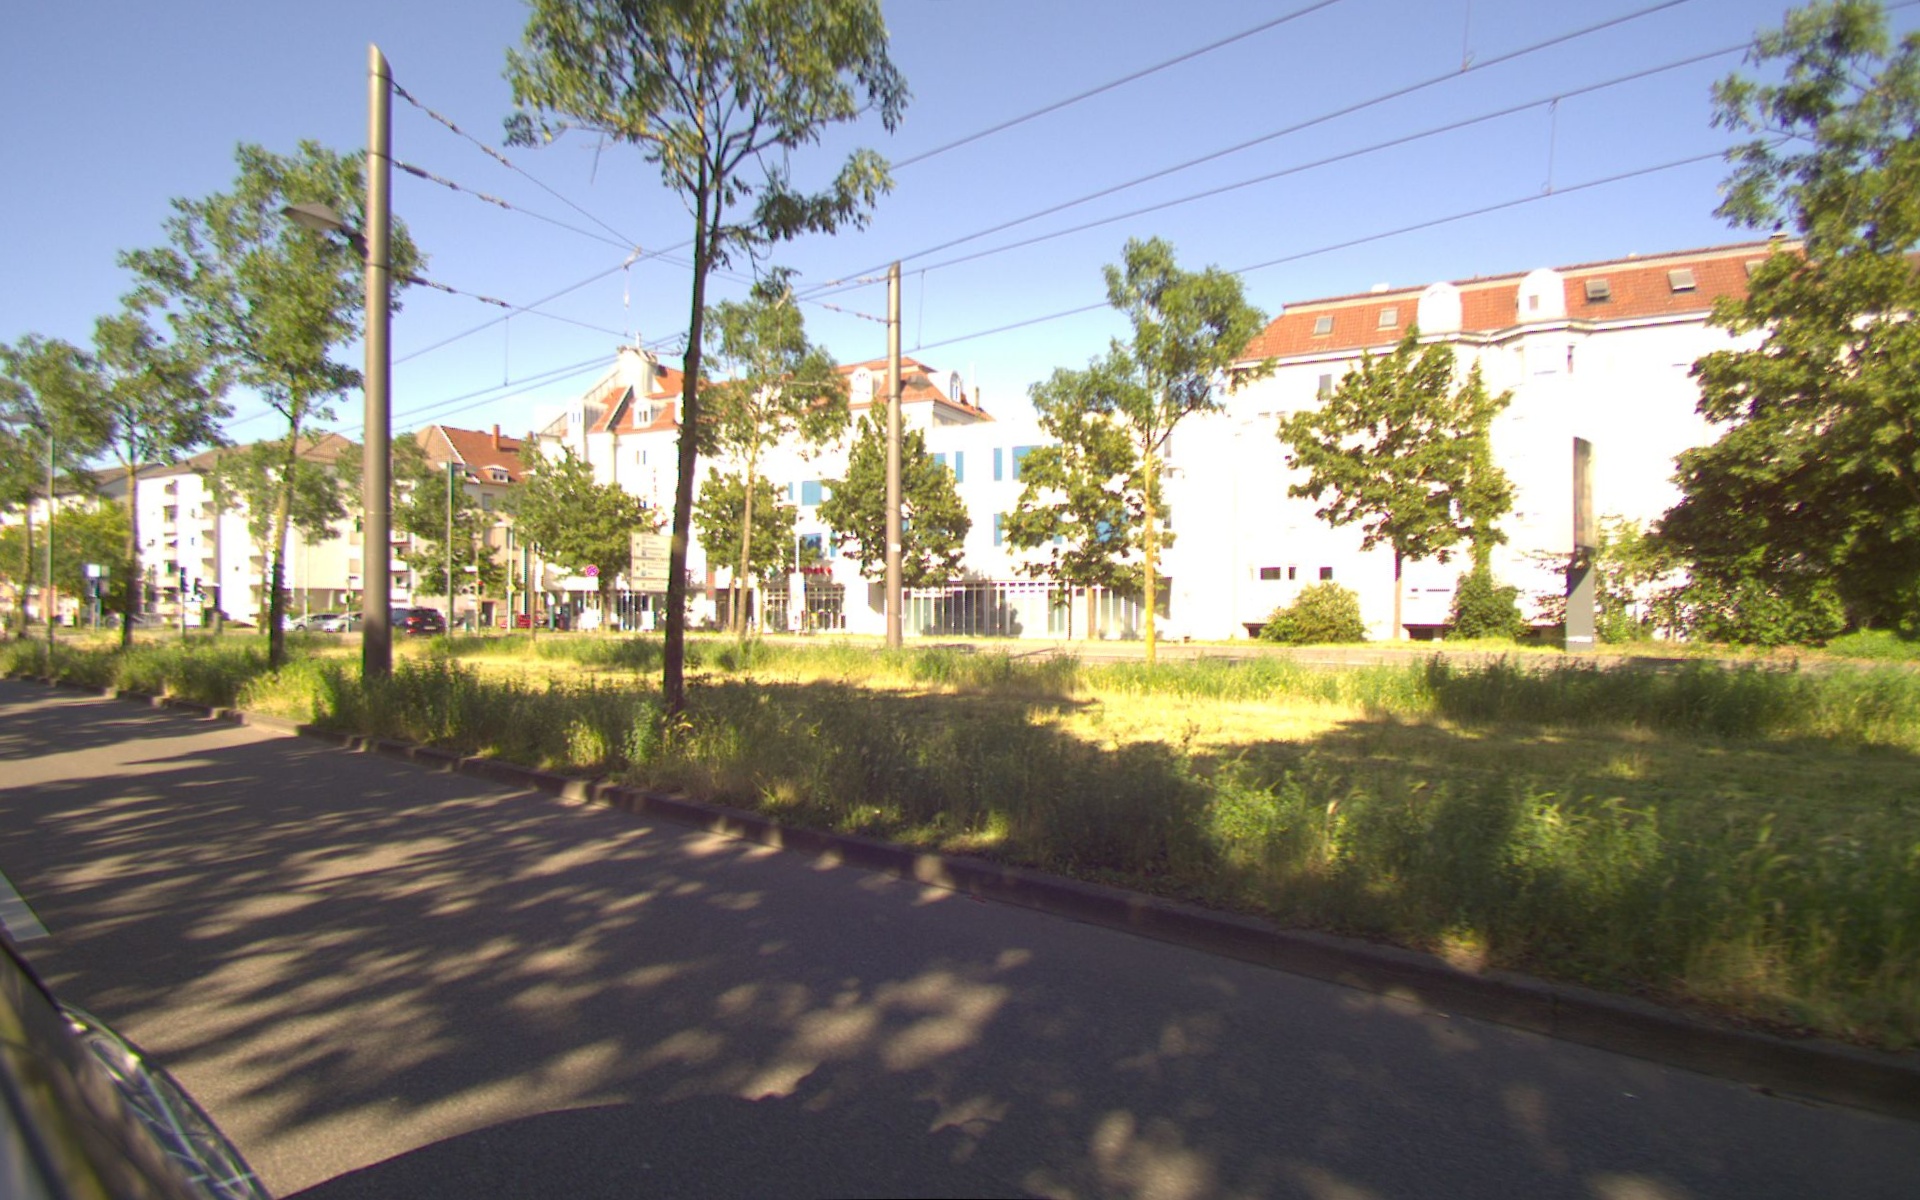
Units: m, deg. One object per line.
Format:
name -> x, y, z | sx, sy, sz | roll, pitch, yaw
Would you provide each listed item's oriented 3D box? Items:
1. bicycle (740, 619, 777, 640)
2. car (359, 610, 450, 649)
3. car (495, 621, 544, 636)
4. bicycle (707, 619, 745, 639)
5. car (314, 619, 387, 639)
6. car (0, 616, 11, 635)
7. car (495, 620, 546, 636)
bicycle -> -12.387, 1.795, 62.293 | 0.717, 1.222, 2.524 | -1, -1, 33
car -> -25.110, 1.318, 45.698 | 4.477, 1.653, 1.804 | -1, -1, 34
car -> -40.968, 2.669, 94.261 | 1.694, 1.320, 4.053 | -1, -1, 26
bicycle -> -14.451, 1.790, 62.402 | 2.545, 1.222, 0.711 | -1, -1, 33
car -> -46.254, 2.207, 76.866 | 2.322, 1.476, 4.152 | -1, -1, 26
car -> -88.852, 2.288, 91.543 | 4.169, 1.723, 1.699 | 0, -1, -31
car -> -39.355, 2.507, 90.653 | 1.694, 1.320, 4.053 | -1, -1, 26
